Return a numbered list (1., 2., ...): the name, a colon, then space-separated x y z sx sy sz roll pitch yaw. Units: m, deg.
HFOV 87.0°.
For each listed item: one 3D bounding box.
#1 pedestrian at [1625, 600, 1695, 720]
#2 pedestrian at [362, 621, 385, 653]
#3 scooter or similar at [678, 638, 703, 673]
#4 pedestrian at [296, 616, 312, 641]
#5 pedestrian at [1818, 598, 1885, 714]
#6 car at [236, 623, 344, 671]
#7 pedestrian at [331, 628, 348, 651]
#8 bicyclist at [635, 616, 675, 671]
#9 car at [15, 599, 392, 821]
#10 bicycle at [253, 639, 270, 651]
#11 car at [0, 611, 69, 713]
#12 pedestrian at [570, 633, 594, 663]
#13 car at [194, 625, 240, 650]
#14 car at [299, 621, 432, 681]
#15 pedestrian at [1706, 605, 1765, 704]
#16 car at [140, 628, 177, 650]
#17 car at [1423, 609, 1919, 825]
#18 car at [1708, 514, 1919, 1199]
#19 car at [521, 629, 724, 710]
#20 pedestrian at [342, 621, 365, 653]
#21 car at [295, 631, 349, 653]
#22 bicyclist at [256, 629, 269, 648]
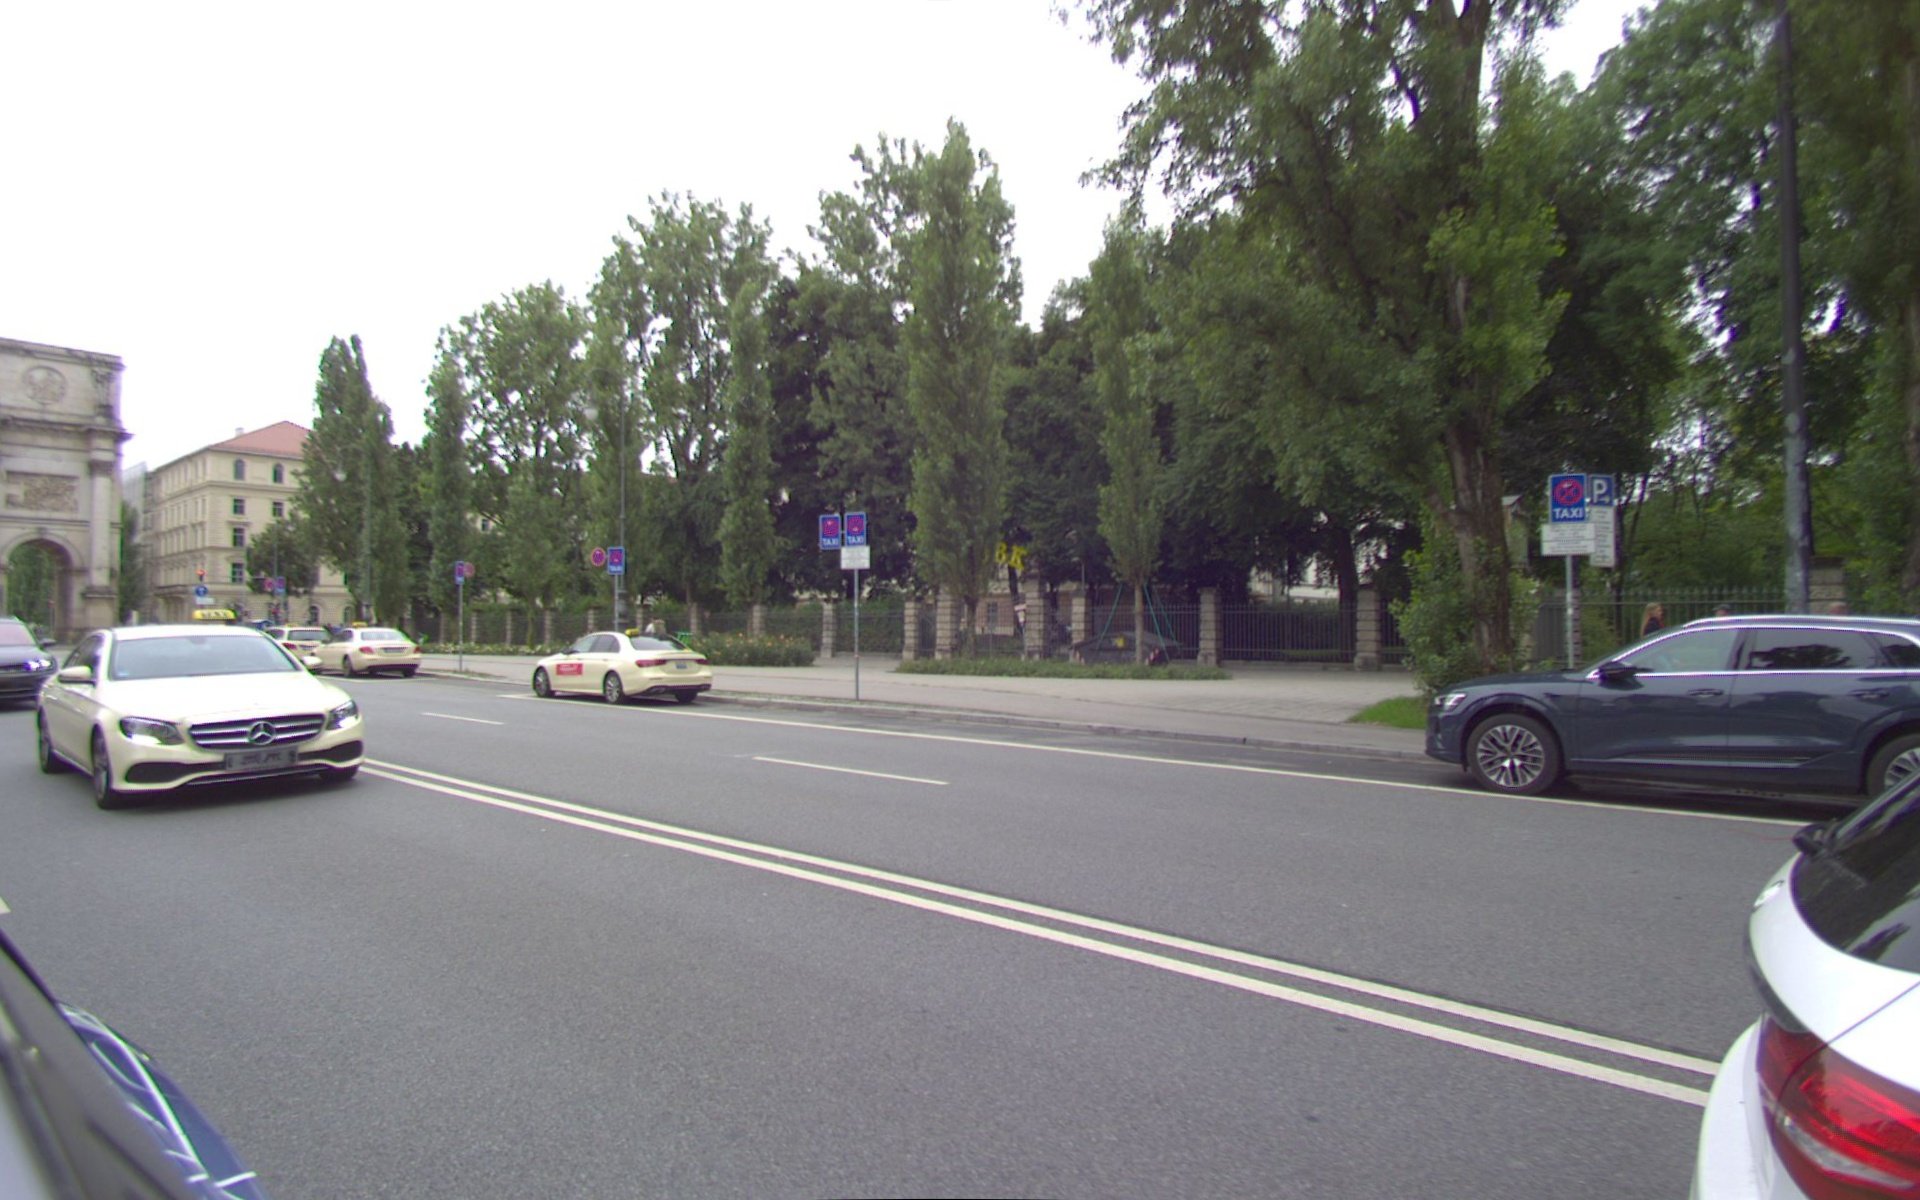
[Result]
1. pedestrian: 10.439 0.877 15.095 0.786 1.733 0.577 -2 -2 39
2. pedestrian: -31.030 1.939 53.534 0.834 1.691 0.967 2 -3 -44
3. scooter or similar: -9.502 1.943 35.656 1.122 1.210 0.240 -2 -2 41
4. pedestrian: -55.460 2.409 85.558 0.747 2.029 0.793 0 -2 5
5. pedestrian: 13.292 0.821 15.104 0.704 1.672 0.612 -2 -2 41
6. car: -23.302 1.604 35.138 4.855 1.571 1.800 -1 -4 40
7. pedestrian: -50.034 3.184 81.604 0.754 1.799 0.903 -2 -3 40
8. bicyclist: -8.487 1.213 28.186 0.860 1.510 0.687 -2 -3 39
9. car: -7.329 0.828 9.599 4.686 1.587 1.895 -1 0 41
10. bicycle: -60.904 3.911 88.246 1.757 0.981 0.636 -2 -2 35
11. car: -17.396 1.052 17.851 4.409 1.636 1.928 -1 0 41
12. pedestrian: -17.148 2.165 45.933 0.832 1.347 0.575 -1 -2 14
13. car: -59.986 3.038 81.704 4.990 1.869 1.977 -1 -3 42
14. car: -18.103 1.500 30.725 4.961 1.637 1.917 -1 -2 40
15. pedestrian: 12.924 0.892 16.864 0.704 1.608 0.612 -2 -2 42
16. car: -61.949 2.980 78.216 1.761 1.684 4.002 2 -3 -45
17. car: 6.819 0.943 8.997 4.610 1.608 1.764 -2 -4 40
18. car: 3.145 0.613 0.306 4.579 1.465 1.807 -1 -1 41
19. car: -7.151 1.402 21.206 4.788 1.509 1.910 -2 -3 41
20. pedestrian: -31.825 1.940 53.138 0.834 1.691 0.967 2 -3 -44
21. car: -61.059 3.975 96.844 1.998 2.029 3.946 -2 -2 40
22. bicyclist: -60.822 3.356 88.217 0.858 1.723 0.636 -2 -2 34
